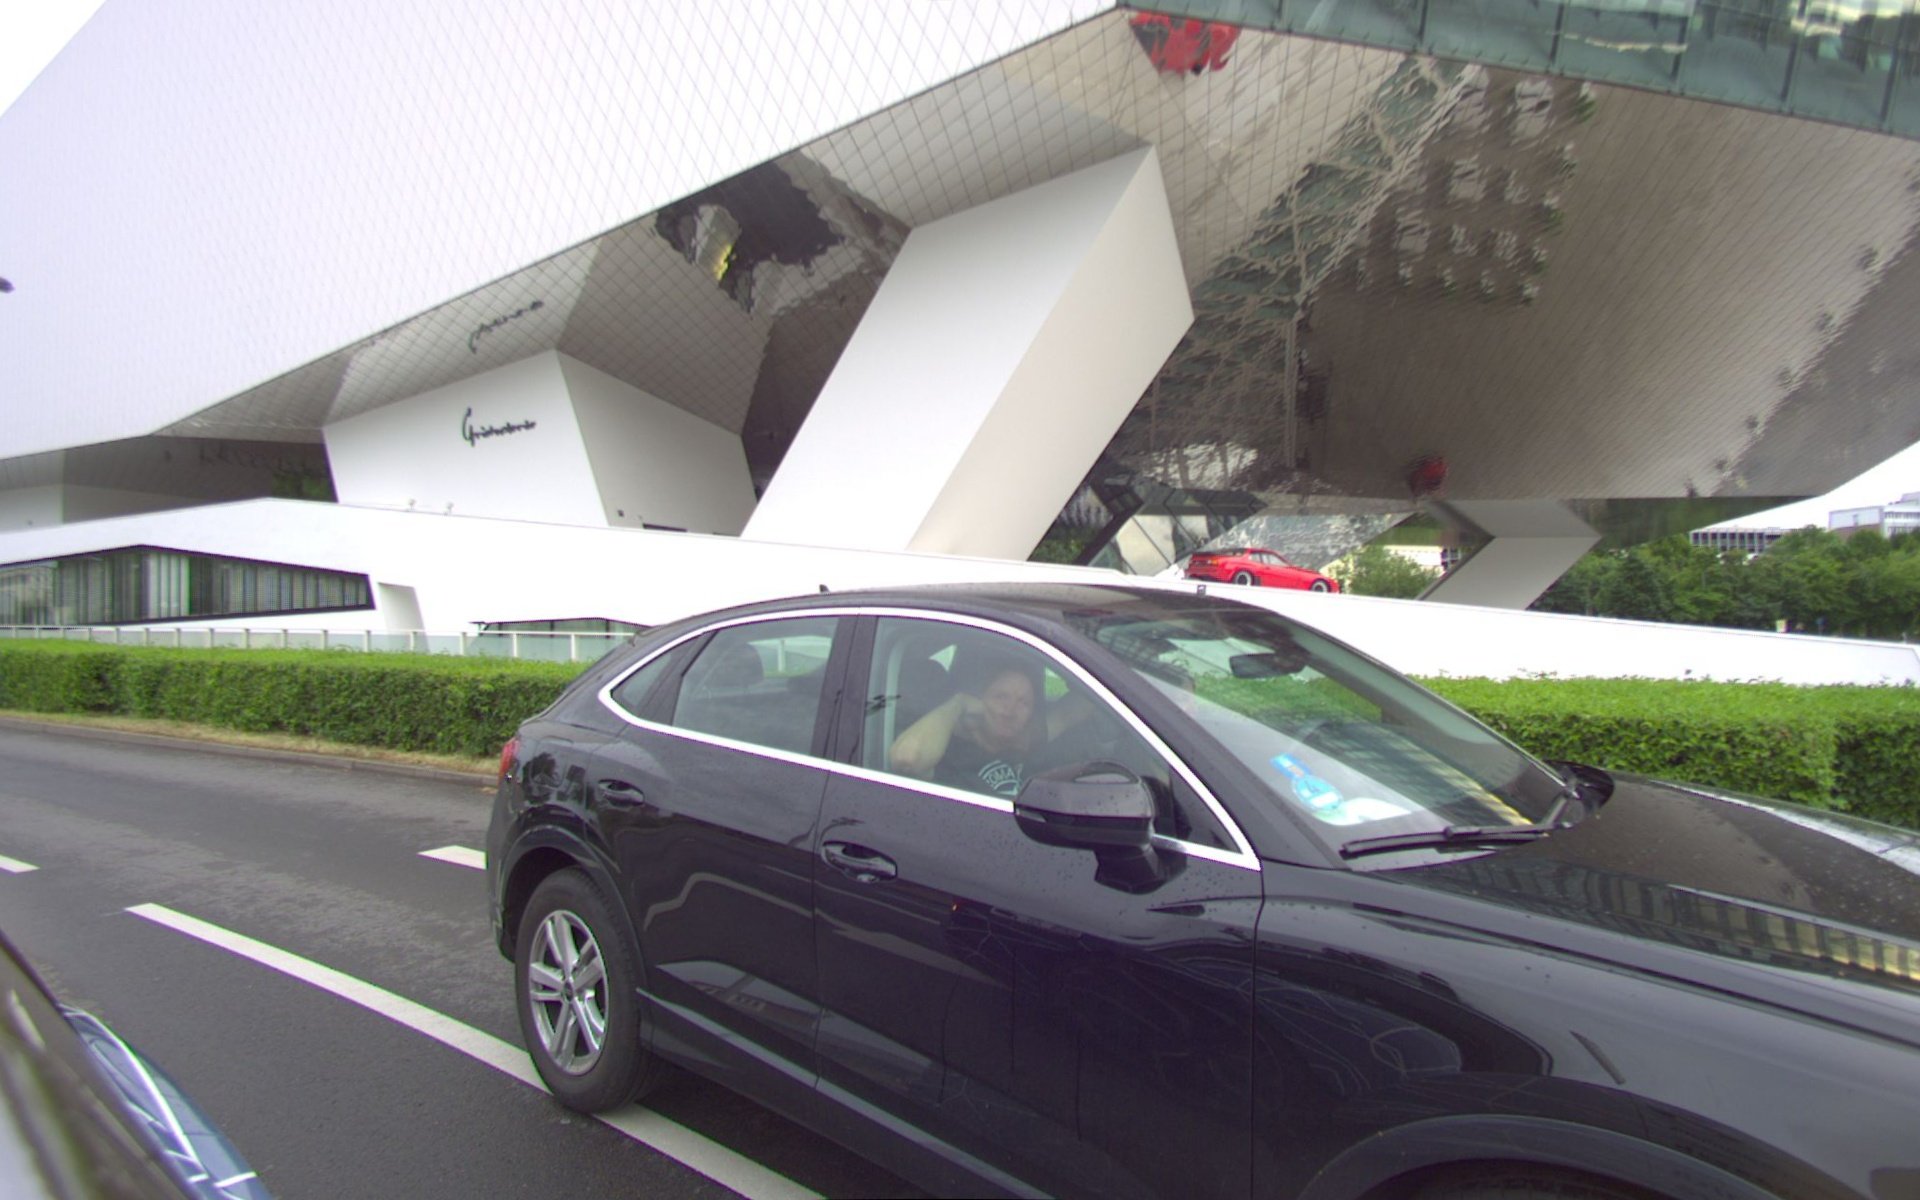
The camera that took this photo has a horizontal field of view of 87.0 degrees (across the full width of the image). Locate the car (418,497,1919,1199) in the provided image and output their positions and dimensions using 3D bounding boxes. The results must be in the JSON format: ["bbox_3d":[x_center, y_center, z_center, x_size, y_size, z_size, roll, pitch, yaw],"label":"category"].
[{"bbox_3d":[0.373,0.677,2.680,4.392,1.529,1.734,-1,0,41],"label":"car"}]

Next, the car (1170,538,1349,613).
[{"bbox_3d":[8.159,-0.616,27.700,4.175,1.395,2.006,7,-4,-16],"label":"car"}]
